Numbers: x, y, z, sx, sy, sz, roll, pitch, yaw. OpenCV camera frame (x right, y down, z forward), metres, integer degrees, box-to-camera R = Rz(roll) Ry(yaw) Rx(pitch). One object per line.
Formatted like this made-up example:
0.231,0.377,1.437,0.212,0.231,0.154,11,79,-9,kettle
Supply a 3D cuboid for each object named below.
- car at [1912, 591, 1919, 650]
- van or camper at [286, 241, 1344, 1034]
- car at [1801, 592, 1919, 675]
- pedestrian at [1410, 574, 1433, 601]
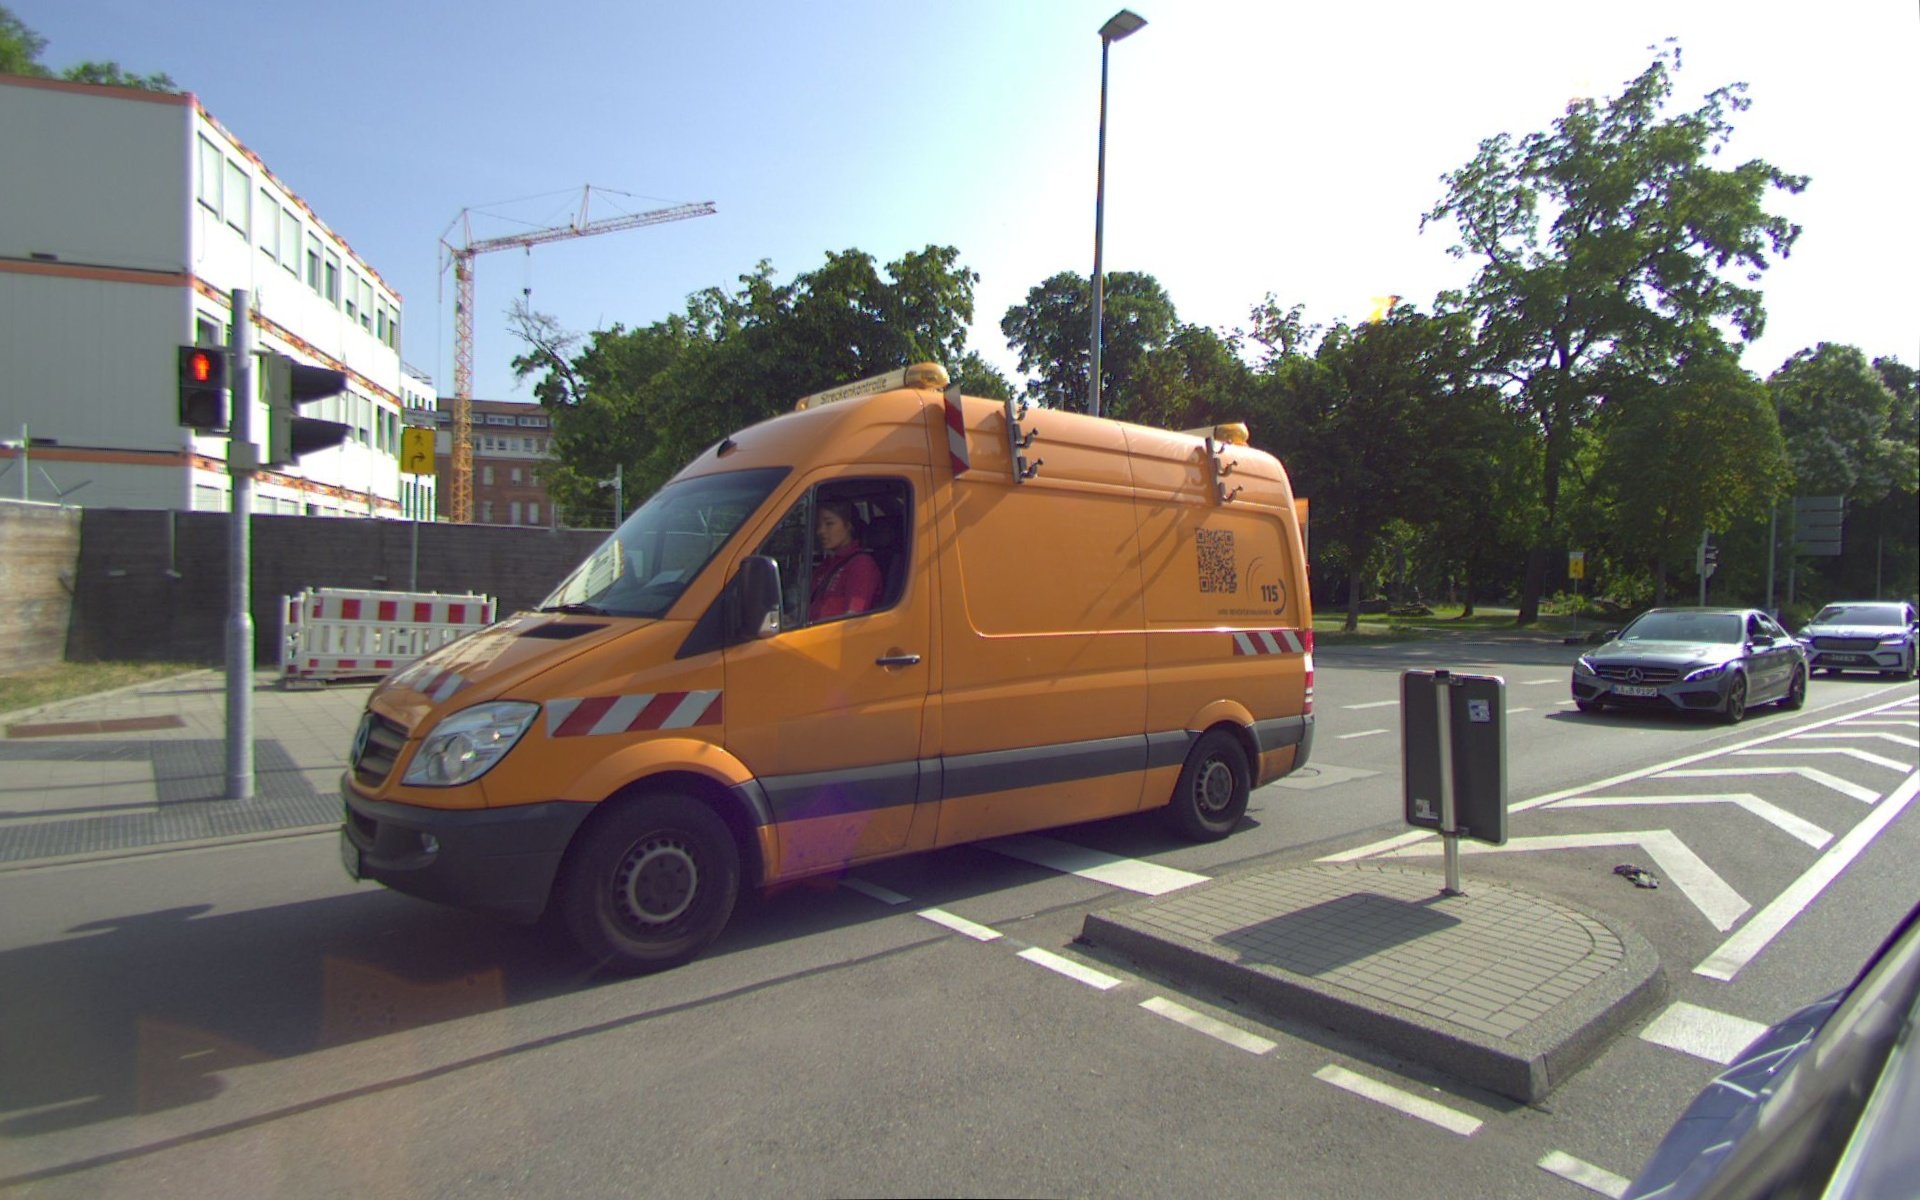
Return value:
28.939,0.600,29.039,3.930,1.660,1.997,0,2,-41,car
-0.240,0.115,5.887,5.953,2.503,1.990,0,0,-40,van or camper
19.501,0.632,21.476,4.176,1.590,1.896,0,0,-41,car
32.129,-0.895,70.463,1.048,1.853,0.987,1,1,-11,pedestrian
